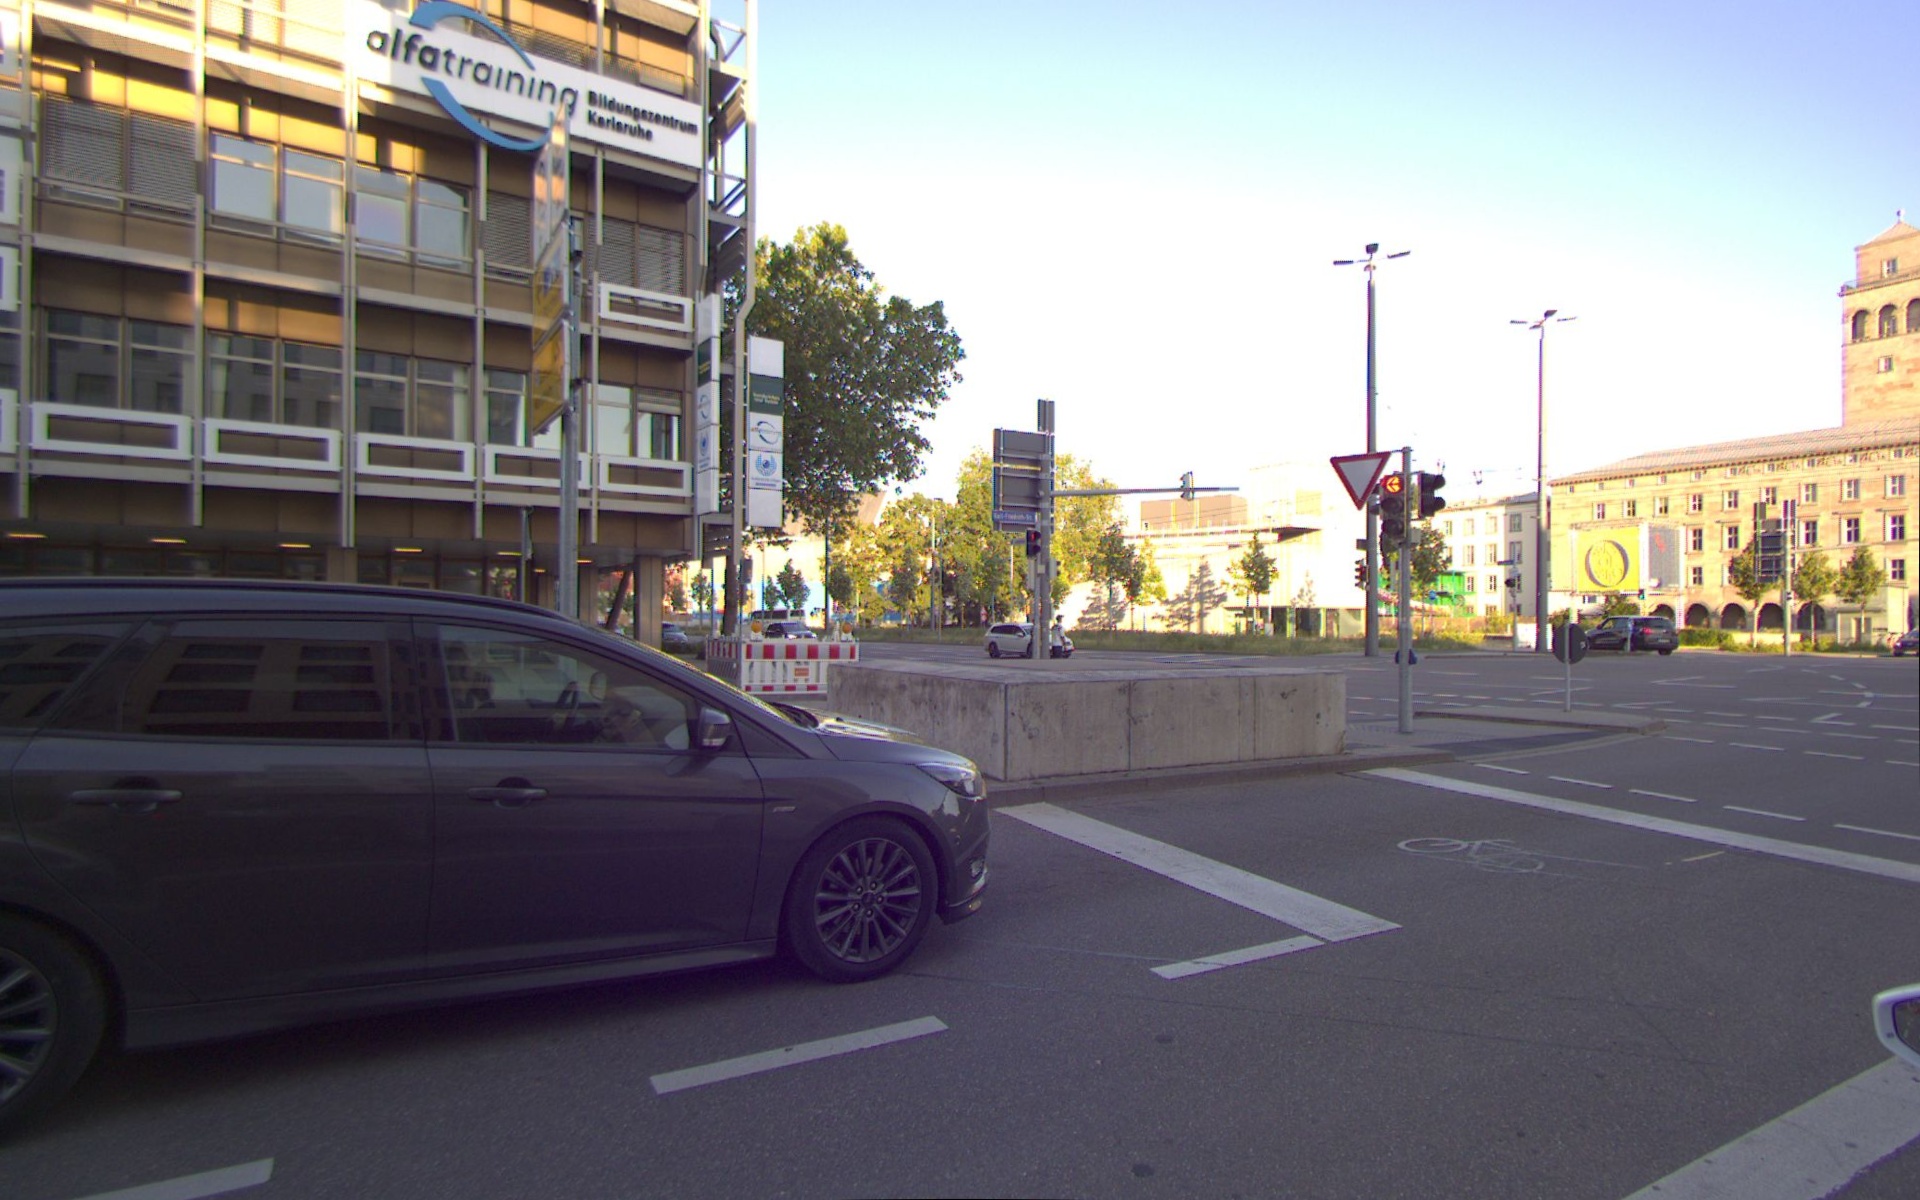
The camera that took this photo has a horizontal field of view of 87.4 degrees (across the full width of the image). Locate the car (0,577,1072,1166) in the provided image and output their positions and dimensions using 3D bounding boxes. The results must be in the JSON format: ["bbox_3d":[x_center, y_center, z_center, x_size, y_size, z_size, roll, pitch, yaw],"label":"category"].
[{"bbox_3d":[-1.825,0.685,3.897,4.330,1.482,1.748,1,1,-31],"label":"car"}]

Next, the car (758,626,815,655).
[{"bbox_3d":[-9.466,2.171,54.523,1.829,1.476,3.921,0,-1,-30],"label":"car"}]

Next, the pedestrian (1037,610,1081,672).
[{"bbox_3d":[2.845,1.170,28.899,0.949,1.744,0.816,1,-1,-34],"label":"pedestrian"}]

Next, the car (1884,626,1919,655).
[{"bbox_3d":[51.209,2.133,53.591,4.111,1.485,1.813,0,-1,-32],"label":"car"}]

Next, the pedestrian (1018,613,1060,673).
[{"bbox_3d":[2.324,1.260,29.651,0.949,1.744,0.816,1,-1,-34],"label":"pedestrian"}]

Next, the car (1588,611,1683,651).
[{"bbox_3d":[28.787,1.316,42.972,1.709,1.626,4.137,0,-1,8],"label":"car"}]

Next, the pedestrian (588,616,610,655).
[{"bbox_3d":[-15.168,1.503,42.208,0.660,1.606,0.715,2,0,-34],"label":"pedestrian"}]

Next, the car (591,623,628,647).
[{"bbox_3d":[-24.434,2.429,69.928,1.722,1.605,3.764,0,-1,-31],"label":"car"}]

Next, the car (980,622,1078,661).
[{"bbox_3d":[2.813,1.686,41.948,1.829,1.476,4.555,0,-1,-30],"label":"car"}]

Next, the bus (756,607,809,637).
[{"bbox_3d":[-23.144,2.812,130.252,2.959,3.818,10.341,1,-1,-34],"label":"bus"}]

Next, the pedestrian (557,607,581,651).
[{"bbox_3d":[-16.320,1.210,41.955,0.749,1.830,0.715,2,0,-35],"label":"pedestrian"}]

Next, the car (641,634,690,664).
[{"bbox_3d":[-17.256,2.806,58.704,1.722,1.605,4.554,0,-1,-30],"label":"car"}]
